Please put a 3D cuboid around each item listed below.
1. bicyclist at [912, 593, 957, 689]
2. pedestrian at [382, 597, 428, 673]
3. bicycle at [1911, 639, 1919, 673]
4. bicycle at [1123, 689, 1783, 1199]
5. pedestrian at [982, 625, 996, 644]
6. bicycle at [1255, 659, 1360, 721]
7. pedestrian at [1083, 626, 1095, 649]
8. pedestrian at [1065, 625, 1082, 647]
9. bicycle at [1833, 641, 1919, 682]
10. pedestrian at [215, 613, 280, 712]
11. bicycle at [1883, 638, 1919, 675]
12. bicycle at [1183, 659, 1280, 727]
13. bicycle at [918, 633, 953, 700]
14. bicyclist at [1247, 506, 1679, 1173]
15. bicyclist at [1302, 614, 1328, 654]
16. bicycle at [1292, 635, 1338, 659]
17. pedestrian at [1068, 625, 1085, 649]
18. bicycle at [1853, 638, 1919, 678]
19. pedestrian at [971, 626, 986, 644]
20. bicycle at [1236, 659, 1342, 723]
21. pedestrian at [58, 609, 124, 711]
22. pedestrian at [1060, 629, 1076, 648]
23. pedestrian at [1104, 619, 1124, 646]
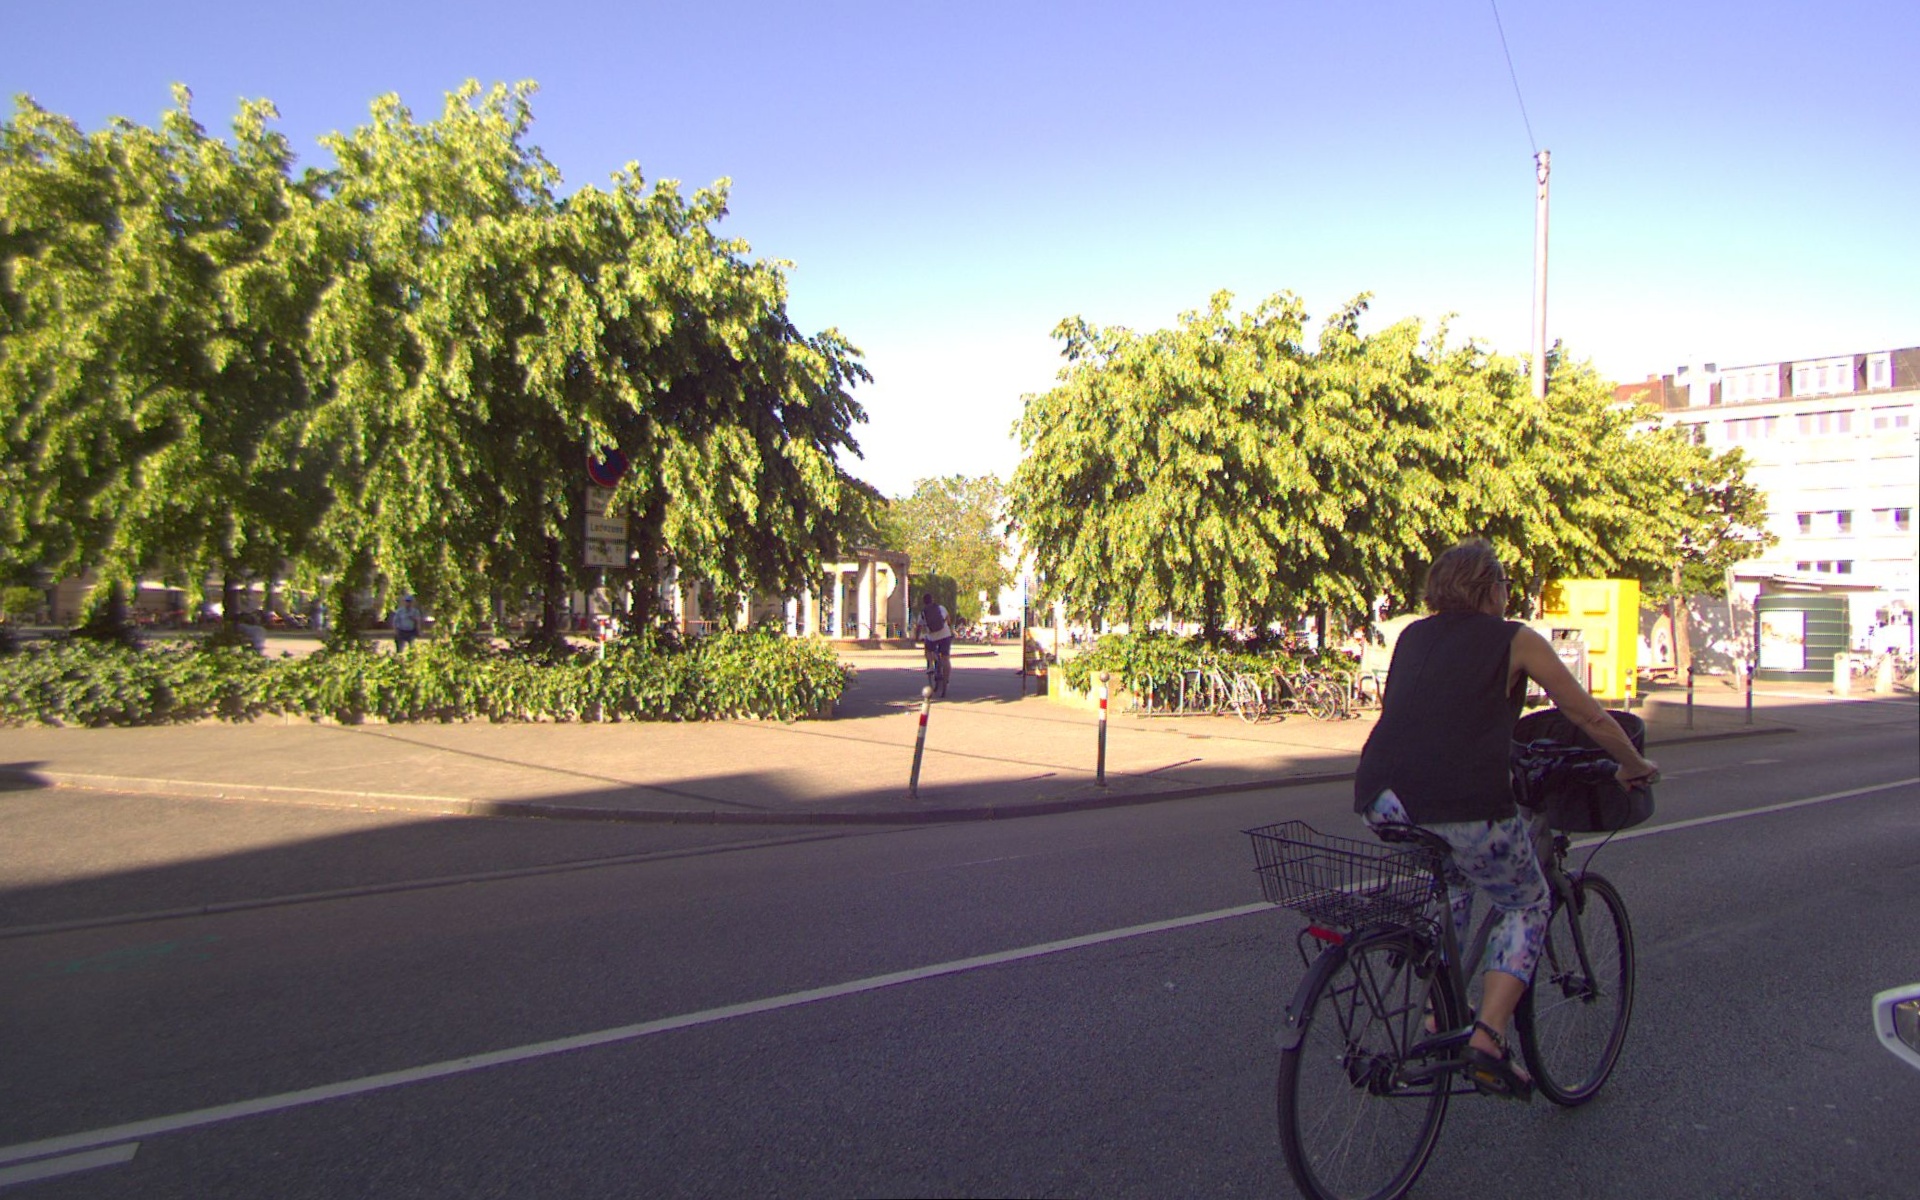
[{"bbox_3d":[-0.470,0.745,18.632,0.773,1.722,0.895,2,0,-1],"label":"bicyclist"},{"bbox_3d":[-11.545,0.716,20.897,0.688,1.541,0.676,2,0,-41],"label":"pedestrian"},{"bbox_3d":[37.241,2.154,37.276,0.932,1.276,2.648,2,0,-32],"label":"bicycle"},{"bbox_3d":[1.452,0.910,2.820,1.976,1.239,0.625,2,0,-29],"label":"bicycle"},{"bbox_3d":[2.489,2.961,85.747,0.867,1.557,0.894,2,0,33],"label":"pedestrian"},{"bbox_3d":[5.668,1.452,16.482,0.465,0.870,1.654,2,0,-35],"label":"bicycle"},{"bbox_3d":[8.672,2.509,67.479,0.761,1.541,0.838,2,0,6],"label":"pedestrian"},{"bbox_3d":[8.061,2.547,71.455,1.003,1.541,1.036,2,0,15],"label":"pedestrian"},{"bbox_3d":[31.216,2.062,33.763,0.932,1.211,2.645,2,0,-32],"label":"bicycle"},{"bbox_3d":[-10.857,0.933,15.303,0.581,1.456,0.615,2,0,33],"label":"pedestrian"},{"bbox_3d":[35.257,2.083,36.132,0.932,1.287,2.859,2,0,-32],"label":"bicycle"},{"bbox_3d":[4.169,1.409,15.528,0.464,0.897,1.558,2,0,-29],"label":"bicycle"},{"bbox_3d":[-0.455,1.214,18.879,0.593,1.116,1.989,2,0,-1],"label":"bicycle"},{"bbox_3d":[1.374,0.551,2.761,0.946,1.504,0.603,2,0,-29],"label":"bicyclist"},{"bbox_3d":[12.788,1.236,36.180,0.566,1.399,0.706,2,-3,-17],"label":"bicyclist"},{"bbox_3d":[12.762,1.709,36.162,0.571,0.834,1.853,1,-3,-17],"label":"bicycle"},{"bbox_3d":[7.867,2.486,67.809,0.904,1.541,0.936,2,0,15],"label":"pedestrian"},{"bbox_3d":[33.138,2.038,35.066,0.923,1.291,2.764,2,0,-32],"label":"bicycle"},{"bbox_3d":[1.574,3.005,86.420,0.867,1.497,0.940,2,0,42],"label":"pedestrian"},{"bbox_3d":[5.269,1.442,16.187,0.465,0.870,1.659,2,0,-35],"label":"bicycle"},{"bbox_3d":[-12.864,0.870,14.886,0.615,1.456,0.647,2,0,-32],"label":"pedestrian"},{"bbox_3d":[7.409,2.625,68.923,0.852,1.230,0.898,2,0,-14],"label":"pedestrian"},{"bbox_3d":[11.088,2.358,72.556,1.274,1.867,1.102,2,0,3],"label":"pedestrian"}]
